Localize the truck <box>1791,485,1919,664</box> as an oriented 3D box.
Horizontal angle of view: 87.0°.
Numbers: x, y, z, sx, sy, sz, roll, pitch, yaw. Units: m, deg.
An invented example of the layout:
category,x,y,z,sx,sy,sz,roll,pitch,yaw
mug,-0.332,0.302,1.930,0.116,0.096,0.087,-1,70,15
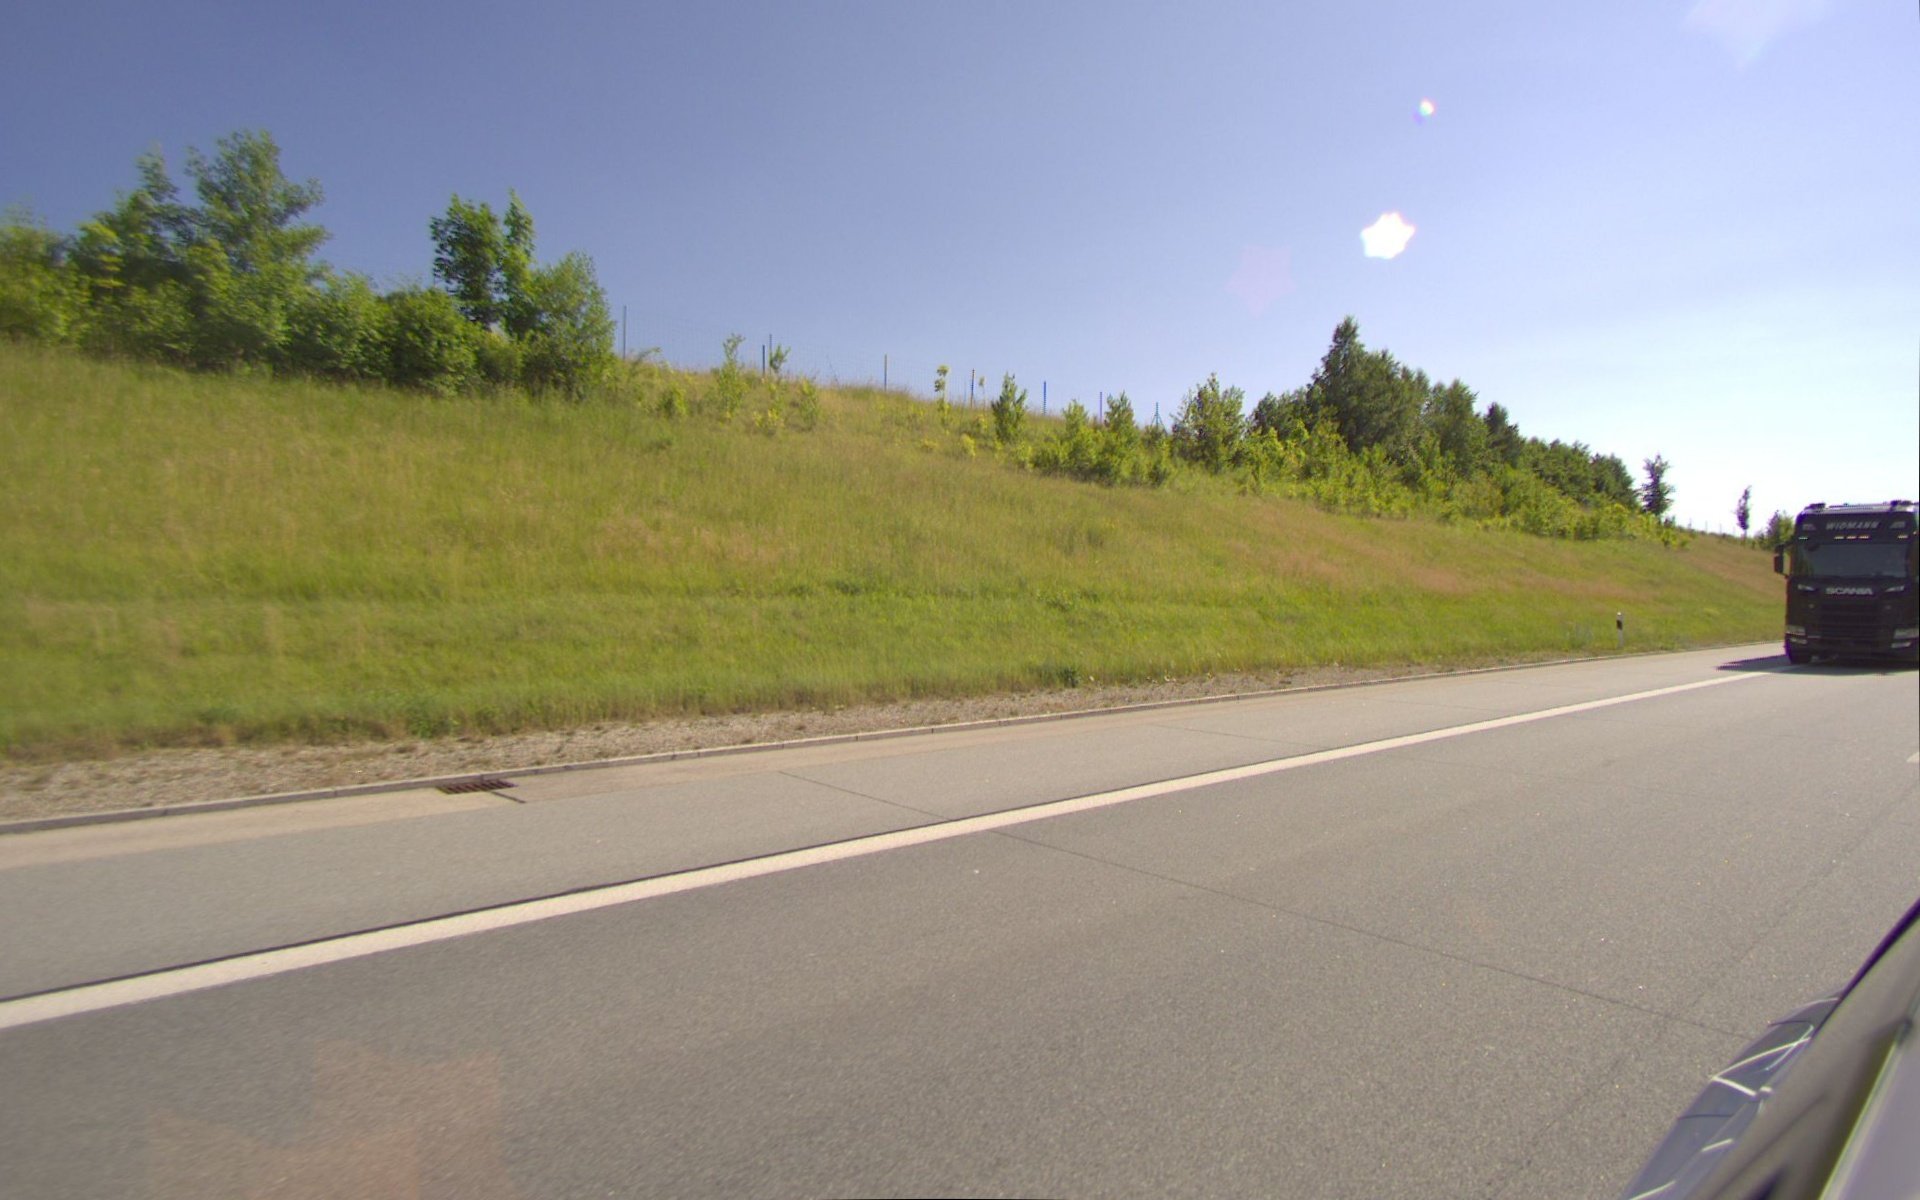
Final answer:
category,x,y,z,sx,sy,sz,roll,pitch,yaw
truck,25.203,-0.595,26.832,13.166,3.865,2.621,0,1,-40
